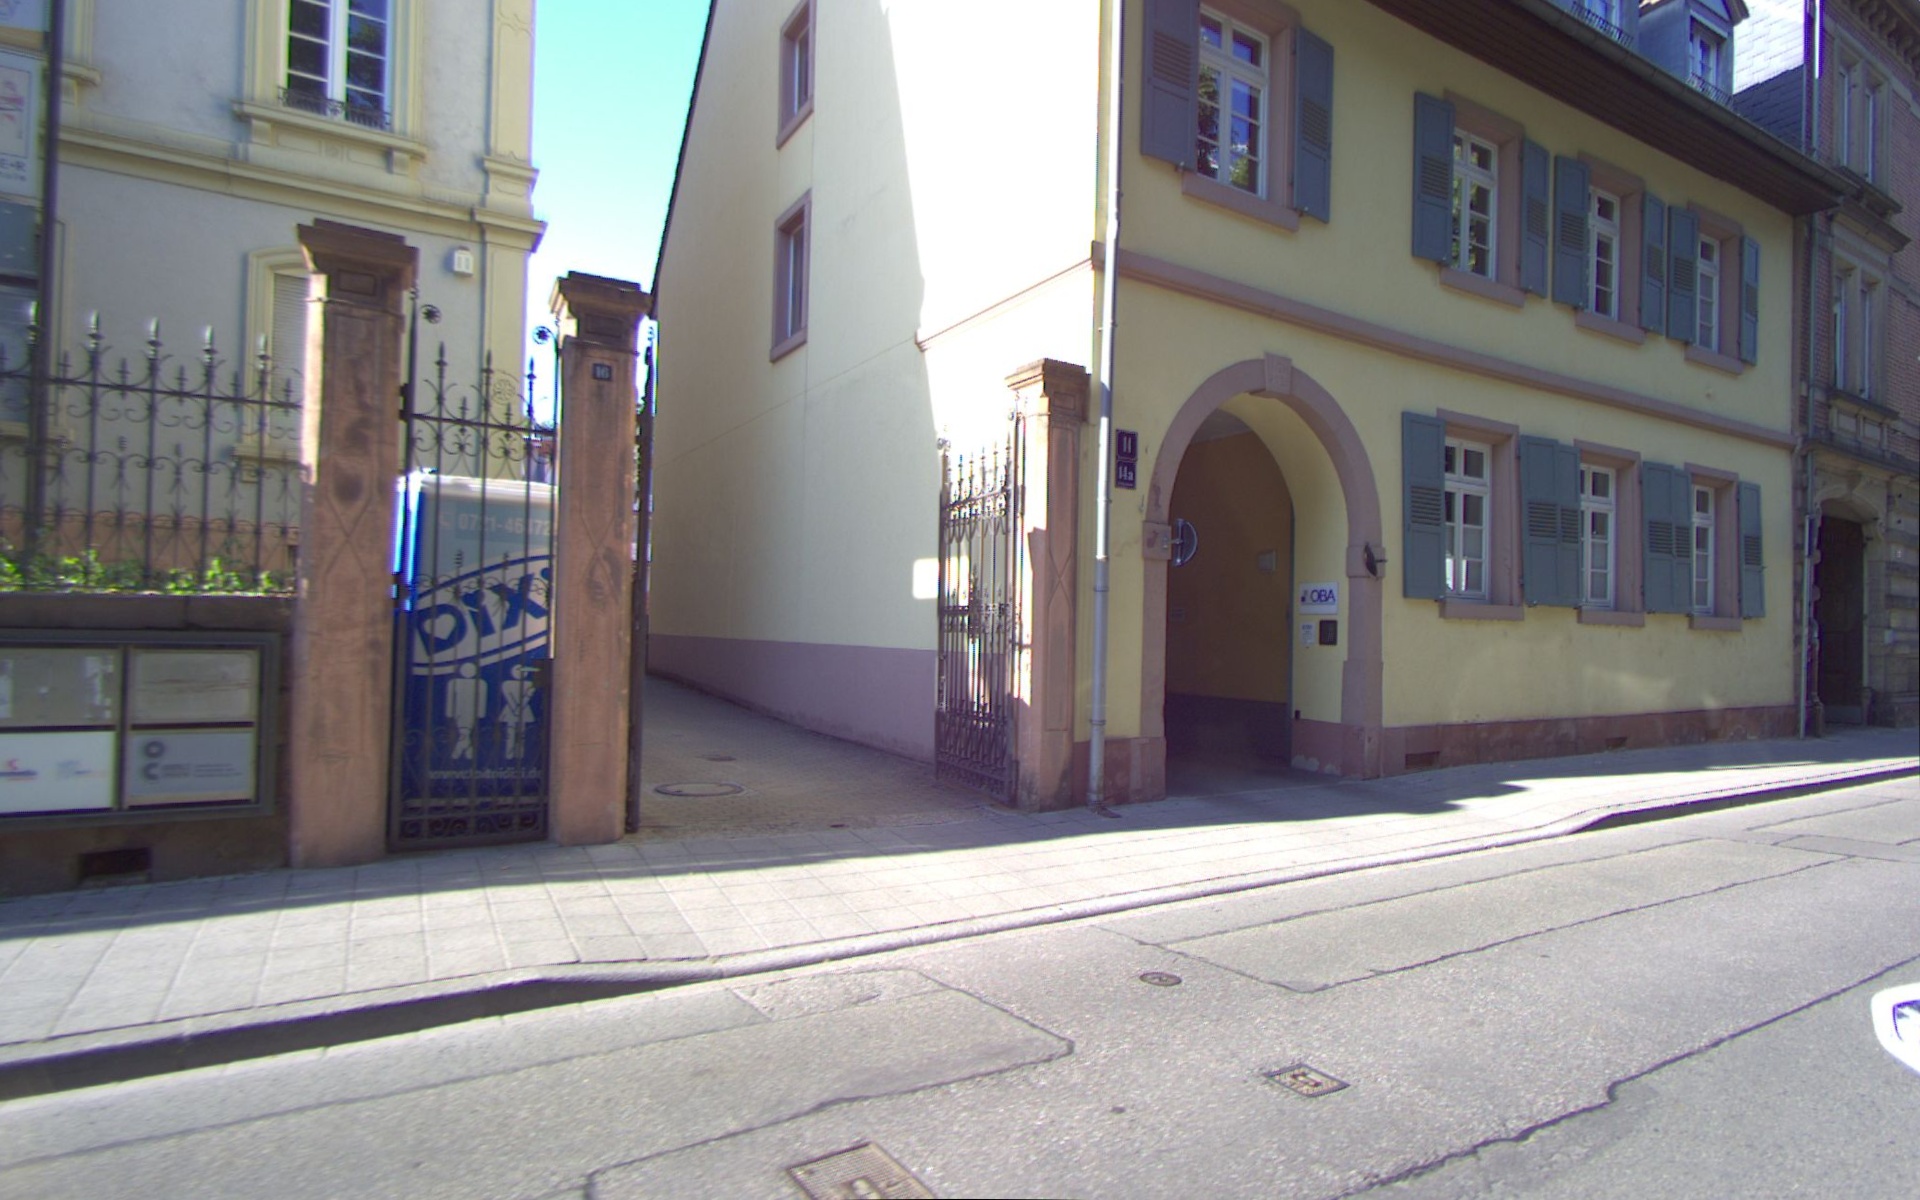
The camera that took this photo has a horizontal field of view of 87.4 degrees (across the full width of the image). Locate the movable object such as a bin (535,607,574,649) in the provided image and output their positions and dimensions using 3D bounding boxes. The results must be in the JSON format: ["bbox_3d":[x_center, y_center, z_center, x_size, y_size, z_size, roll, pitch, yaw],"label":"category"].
[{"bbox_3d":[-14.098,0.979,34.935,1.083,1.412,1.038,2,-2,-31],"label":"movable object such as a bin"}]
